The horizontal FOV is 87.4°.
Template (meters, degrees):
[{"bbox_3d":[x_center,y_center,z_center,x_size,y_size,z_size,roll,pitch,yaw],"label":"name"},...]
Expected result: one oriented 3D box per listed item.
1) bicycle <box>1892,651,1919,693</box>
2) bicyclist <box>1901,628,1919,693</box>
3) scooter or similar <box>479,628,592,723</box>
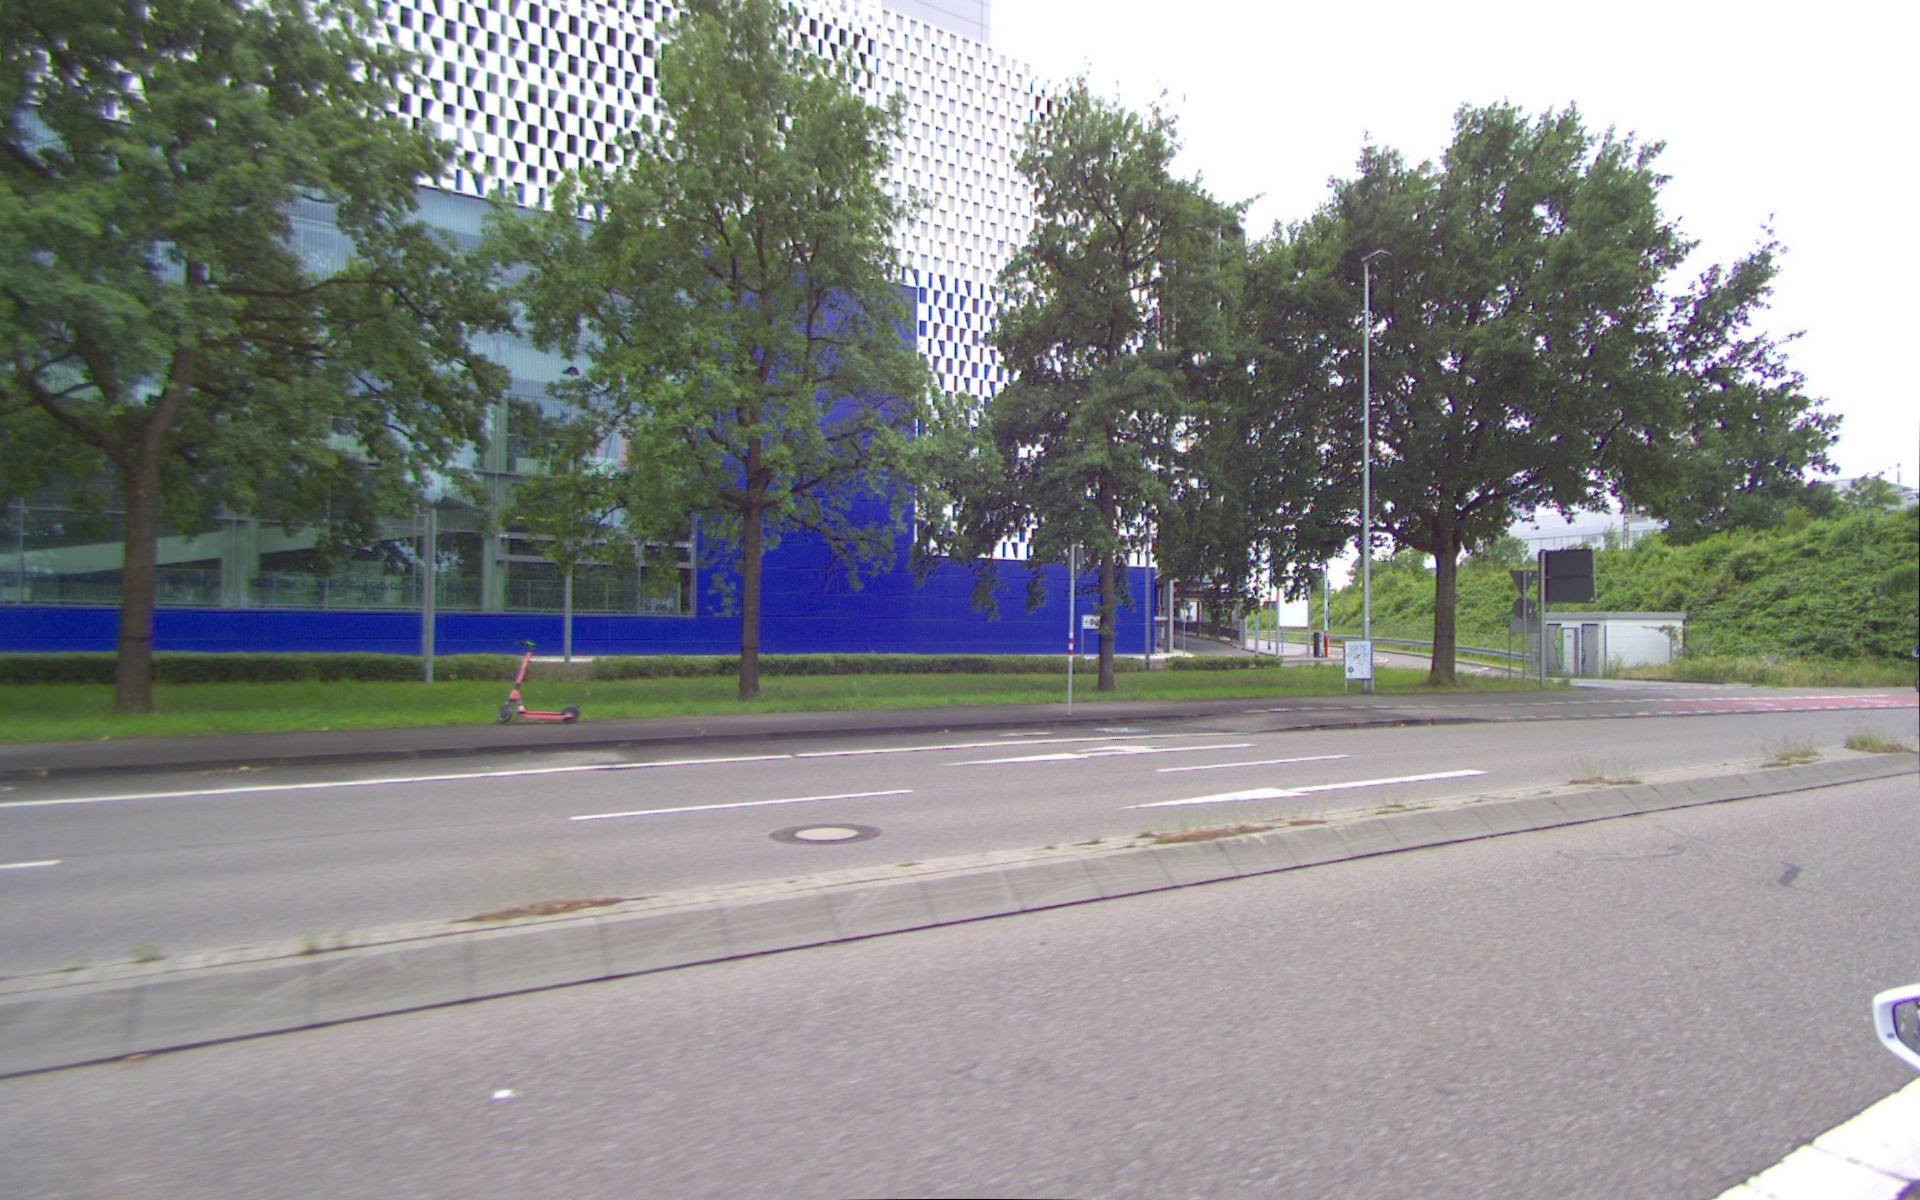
[{"bbox_3d":[28.903,2.164,30.130,2.343,1.202,0.709,2,0,-30],"label":"bicycle"},{"bbox_3d":[28.912,1.818,30.132,1.008,1.899,0.698,2,0,-30],"label":"bicyclist"},{"bbox_3d":[-6.193,1.089,14.718,1.482,1.339,0.446,1,-1,-20],"label":"scooter or similar"}]
